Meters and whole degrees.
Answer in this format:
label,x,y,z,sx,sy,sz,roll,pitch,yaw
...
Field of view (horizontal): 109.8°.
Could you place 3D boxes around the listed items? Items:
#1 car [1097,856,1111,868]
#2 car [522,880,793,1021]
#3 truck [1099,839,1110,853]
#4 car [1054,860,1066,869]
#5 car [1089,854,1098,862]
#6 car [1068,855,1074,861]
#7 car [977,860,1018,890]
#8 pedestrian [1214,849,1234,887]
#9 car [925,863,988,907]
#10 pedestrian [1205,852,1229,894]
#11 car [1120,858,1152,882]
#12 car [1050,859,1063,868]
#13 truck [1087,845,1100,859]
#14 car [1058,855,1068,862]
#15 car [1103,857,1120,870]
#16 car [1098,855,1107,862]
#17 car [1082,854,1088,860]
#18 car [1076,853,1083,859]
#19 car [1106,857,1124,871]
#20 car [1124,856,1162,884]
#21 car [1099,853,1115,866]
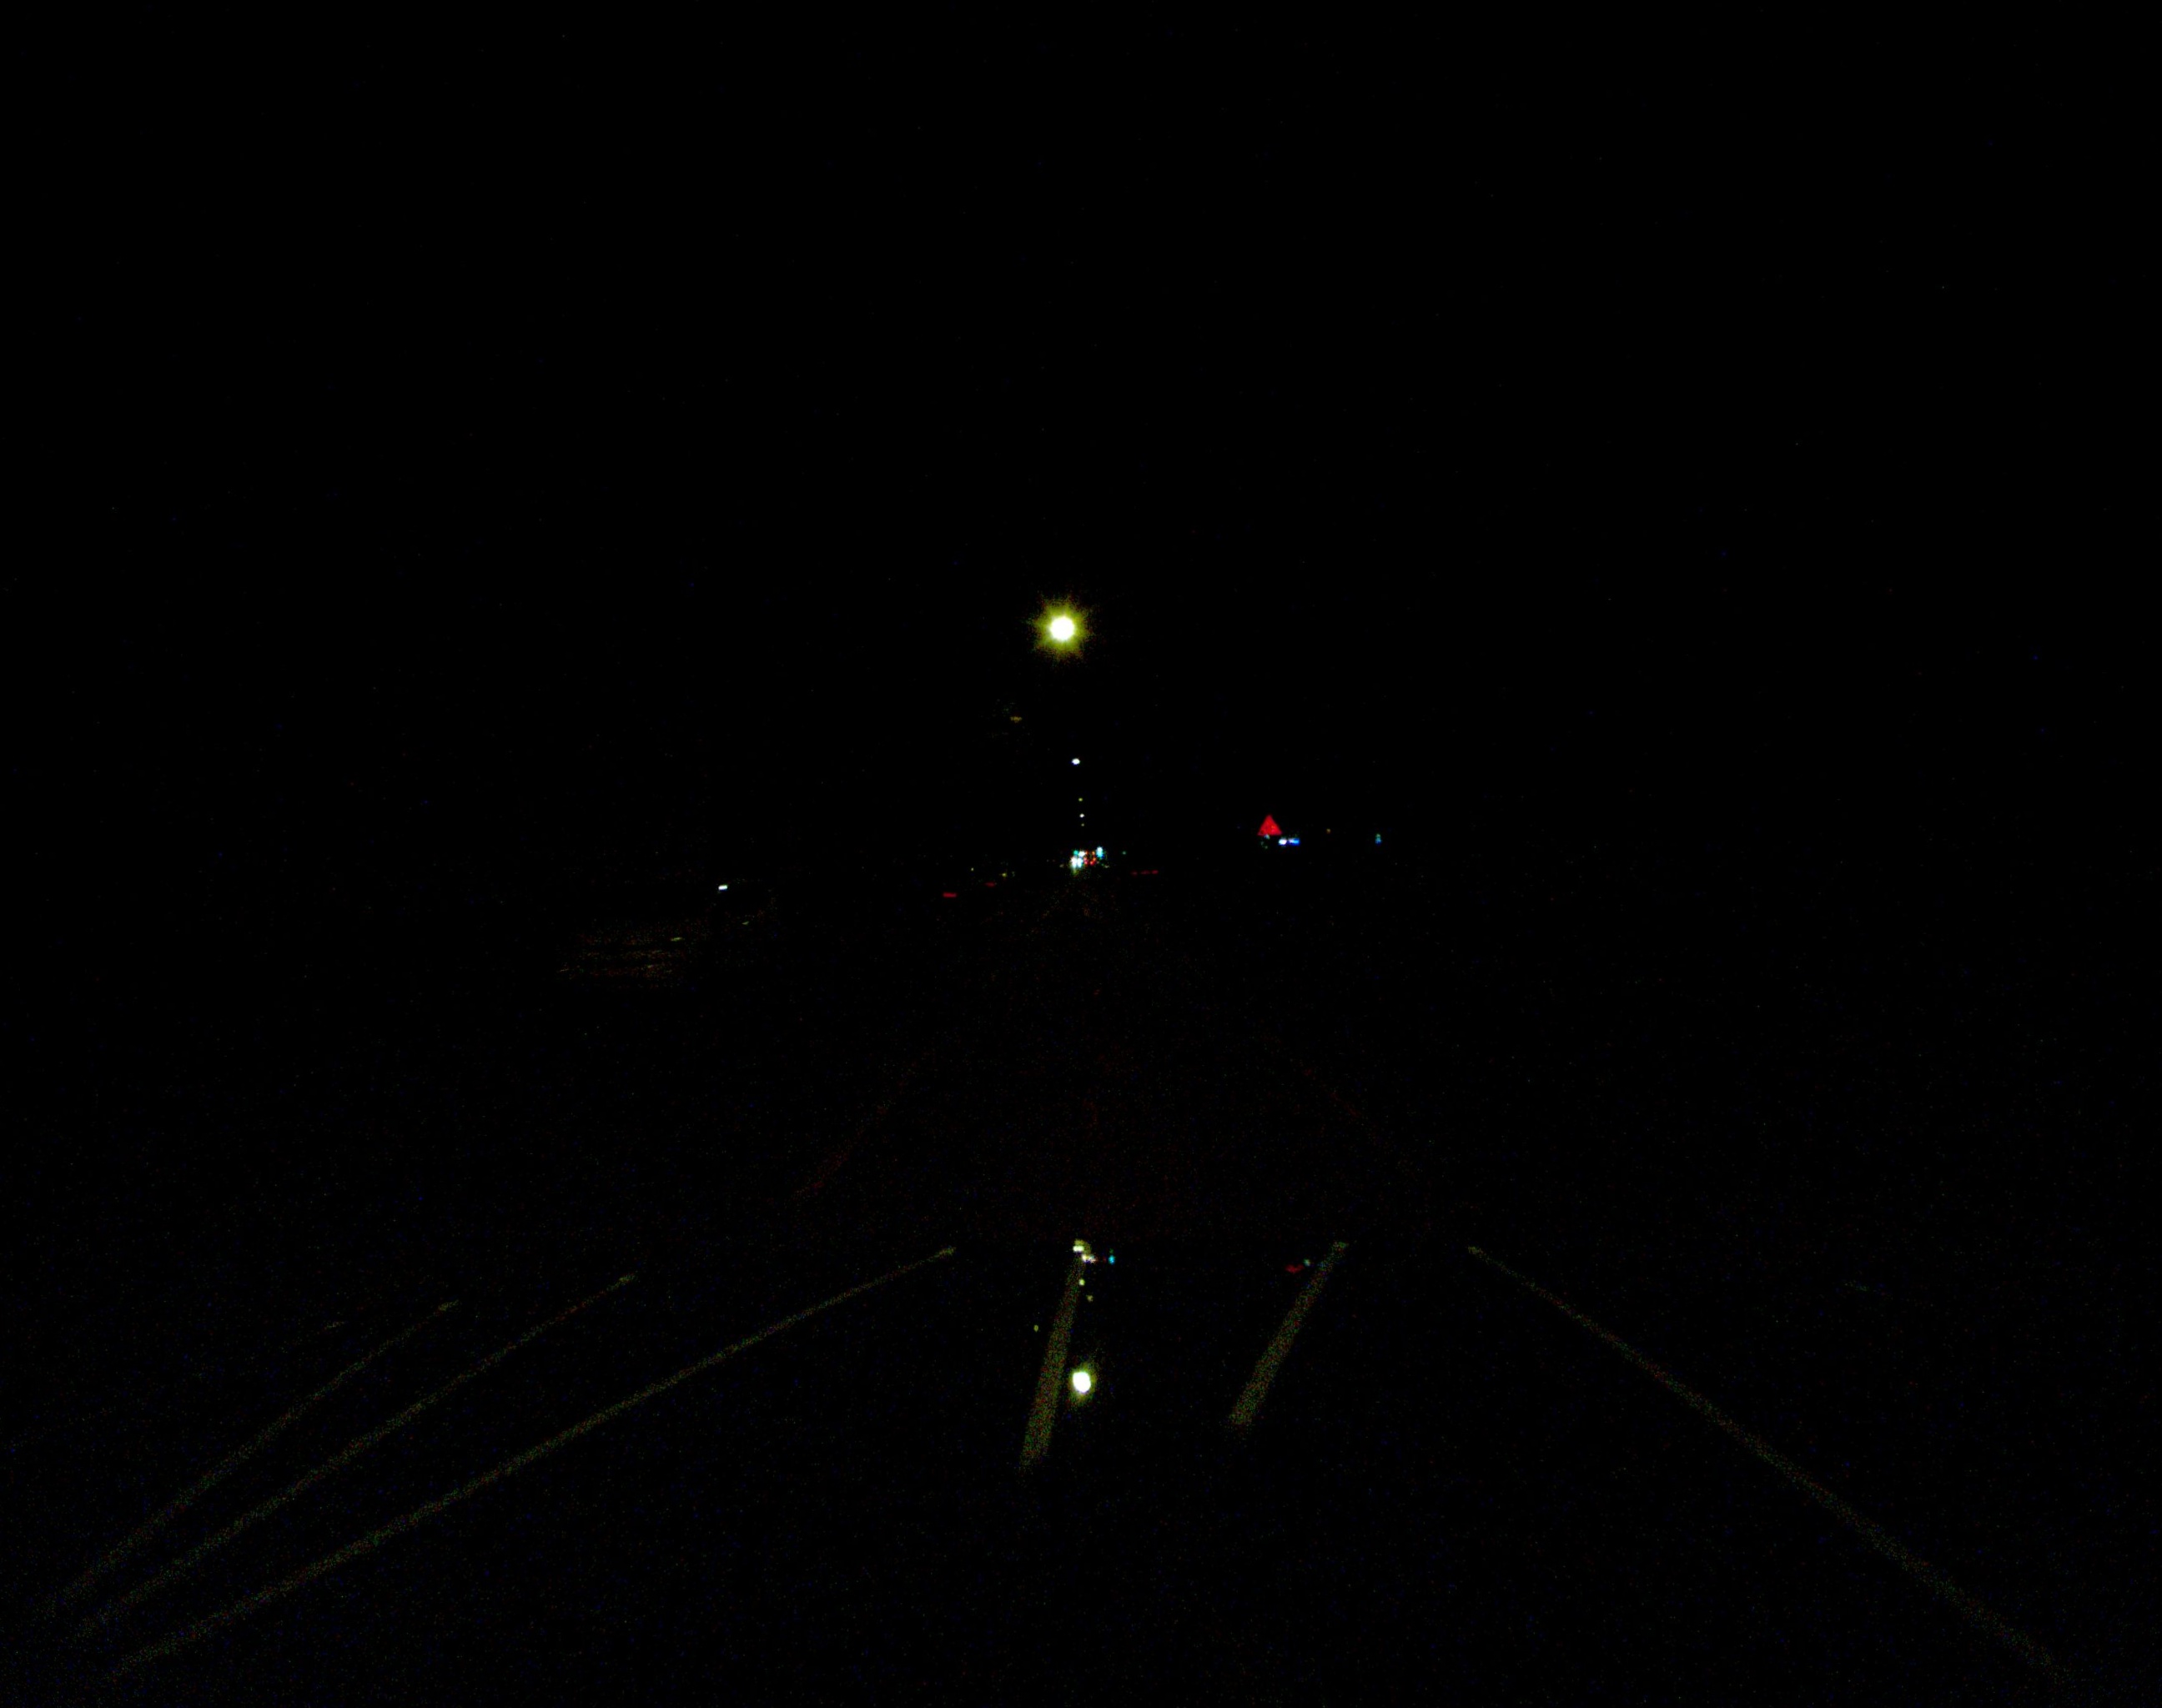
label,x,y,z,sx,sy,sz,roll,pitch,yaw
car,3.462,1.210,114.767,1.874,1.635,3.999,-2,0,-3
car,-5.432,1.146,10.327,1.672,1.476,3.603,0,0,0
truck,4.656,-1.567,150.866,2.084,2.562,6.874,-2,0,1
car,-3.593,1.719,129.938,1.874,1.407,4.000,-2,0,-1
car,2.960,0.916,179.072,1.873,1.635,4.000,-2,0,1
car,-2.848,1.104,213.772,1.793,1.829,3.845,-2,0,-1
car,-4.623,1.141,42.784,1.742,1.587,4.359,0,0,1
pedestrian,6.608,0.646,35.091,0.670,1.716,0.866,-2,0,-2
car,-4.713,1.155,29.369,1.865,1.544,4.045,0,0,-2
pedestrian,5.531,0.758,30.979,0.744,1.662,1.103,-2,1,-1
car,3.785,1.077,52.840,1.864,1.458,3.897,-4,0,-1
car,-3.931,1.482,123.034,1.874,1.407,4.000,-2,0,-1
truck,3.190,-0.458,200.004,3.222,3.359,8.851,-2,0,1
car,-3.765,0.982,159.230,1.874,1.407,4.000,-2,0,-1
car,4.021,1.253,100.364,1.874,1.635,3.999,-2,0,-3
car,4.993,1.016,175.930,1.873,1.551,4.353,-2,0,1
car,1.208,0.927,230.583,1.874,1.635,4.000,-2,0,-1
car,-0.451,0.545,212.257,1.775,1.671,3.814,-2,0,0
car,4.225,1.270,95.924,1.874,1.635,3.999,-2,0,-3
car,3.829,0.968,47.686,1.864,1.523,4.588,-4,0,-1
car,3.595,0.778,106.106,1.874,1.635,3.999,-2,0,-3
